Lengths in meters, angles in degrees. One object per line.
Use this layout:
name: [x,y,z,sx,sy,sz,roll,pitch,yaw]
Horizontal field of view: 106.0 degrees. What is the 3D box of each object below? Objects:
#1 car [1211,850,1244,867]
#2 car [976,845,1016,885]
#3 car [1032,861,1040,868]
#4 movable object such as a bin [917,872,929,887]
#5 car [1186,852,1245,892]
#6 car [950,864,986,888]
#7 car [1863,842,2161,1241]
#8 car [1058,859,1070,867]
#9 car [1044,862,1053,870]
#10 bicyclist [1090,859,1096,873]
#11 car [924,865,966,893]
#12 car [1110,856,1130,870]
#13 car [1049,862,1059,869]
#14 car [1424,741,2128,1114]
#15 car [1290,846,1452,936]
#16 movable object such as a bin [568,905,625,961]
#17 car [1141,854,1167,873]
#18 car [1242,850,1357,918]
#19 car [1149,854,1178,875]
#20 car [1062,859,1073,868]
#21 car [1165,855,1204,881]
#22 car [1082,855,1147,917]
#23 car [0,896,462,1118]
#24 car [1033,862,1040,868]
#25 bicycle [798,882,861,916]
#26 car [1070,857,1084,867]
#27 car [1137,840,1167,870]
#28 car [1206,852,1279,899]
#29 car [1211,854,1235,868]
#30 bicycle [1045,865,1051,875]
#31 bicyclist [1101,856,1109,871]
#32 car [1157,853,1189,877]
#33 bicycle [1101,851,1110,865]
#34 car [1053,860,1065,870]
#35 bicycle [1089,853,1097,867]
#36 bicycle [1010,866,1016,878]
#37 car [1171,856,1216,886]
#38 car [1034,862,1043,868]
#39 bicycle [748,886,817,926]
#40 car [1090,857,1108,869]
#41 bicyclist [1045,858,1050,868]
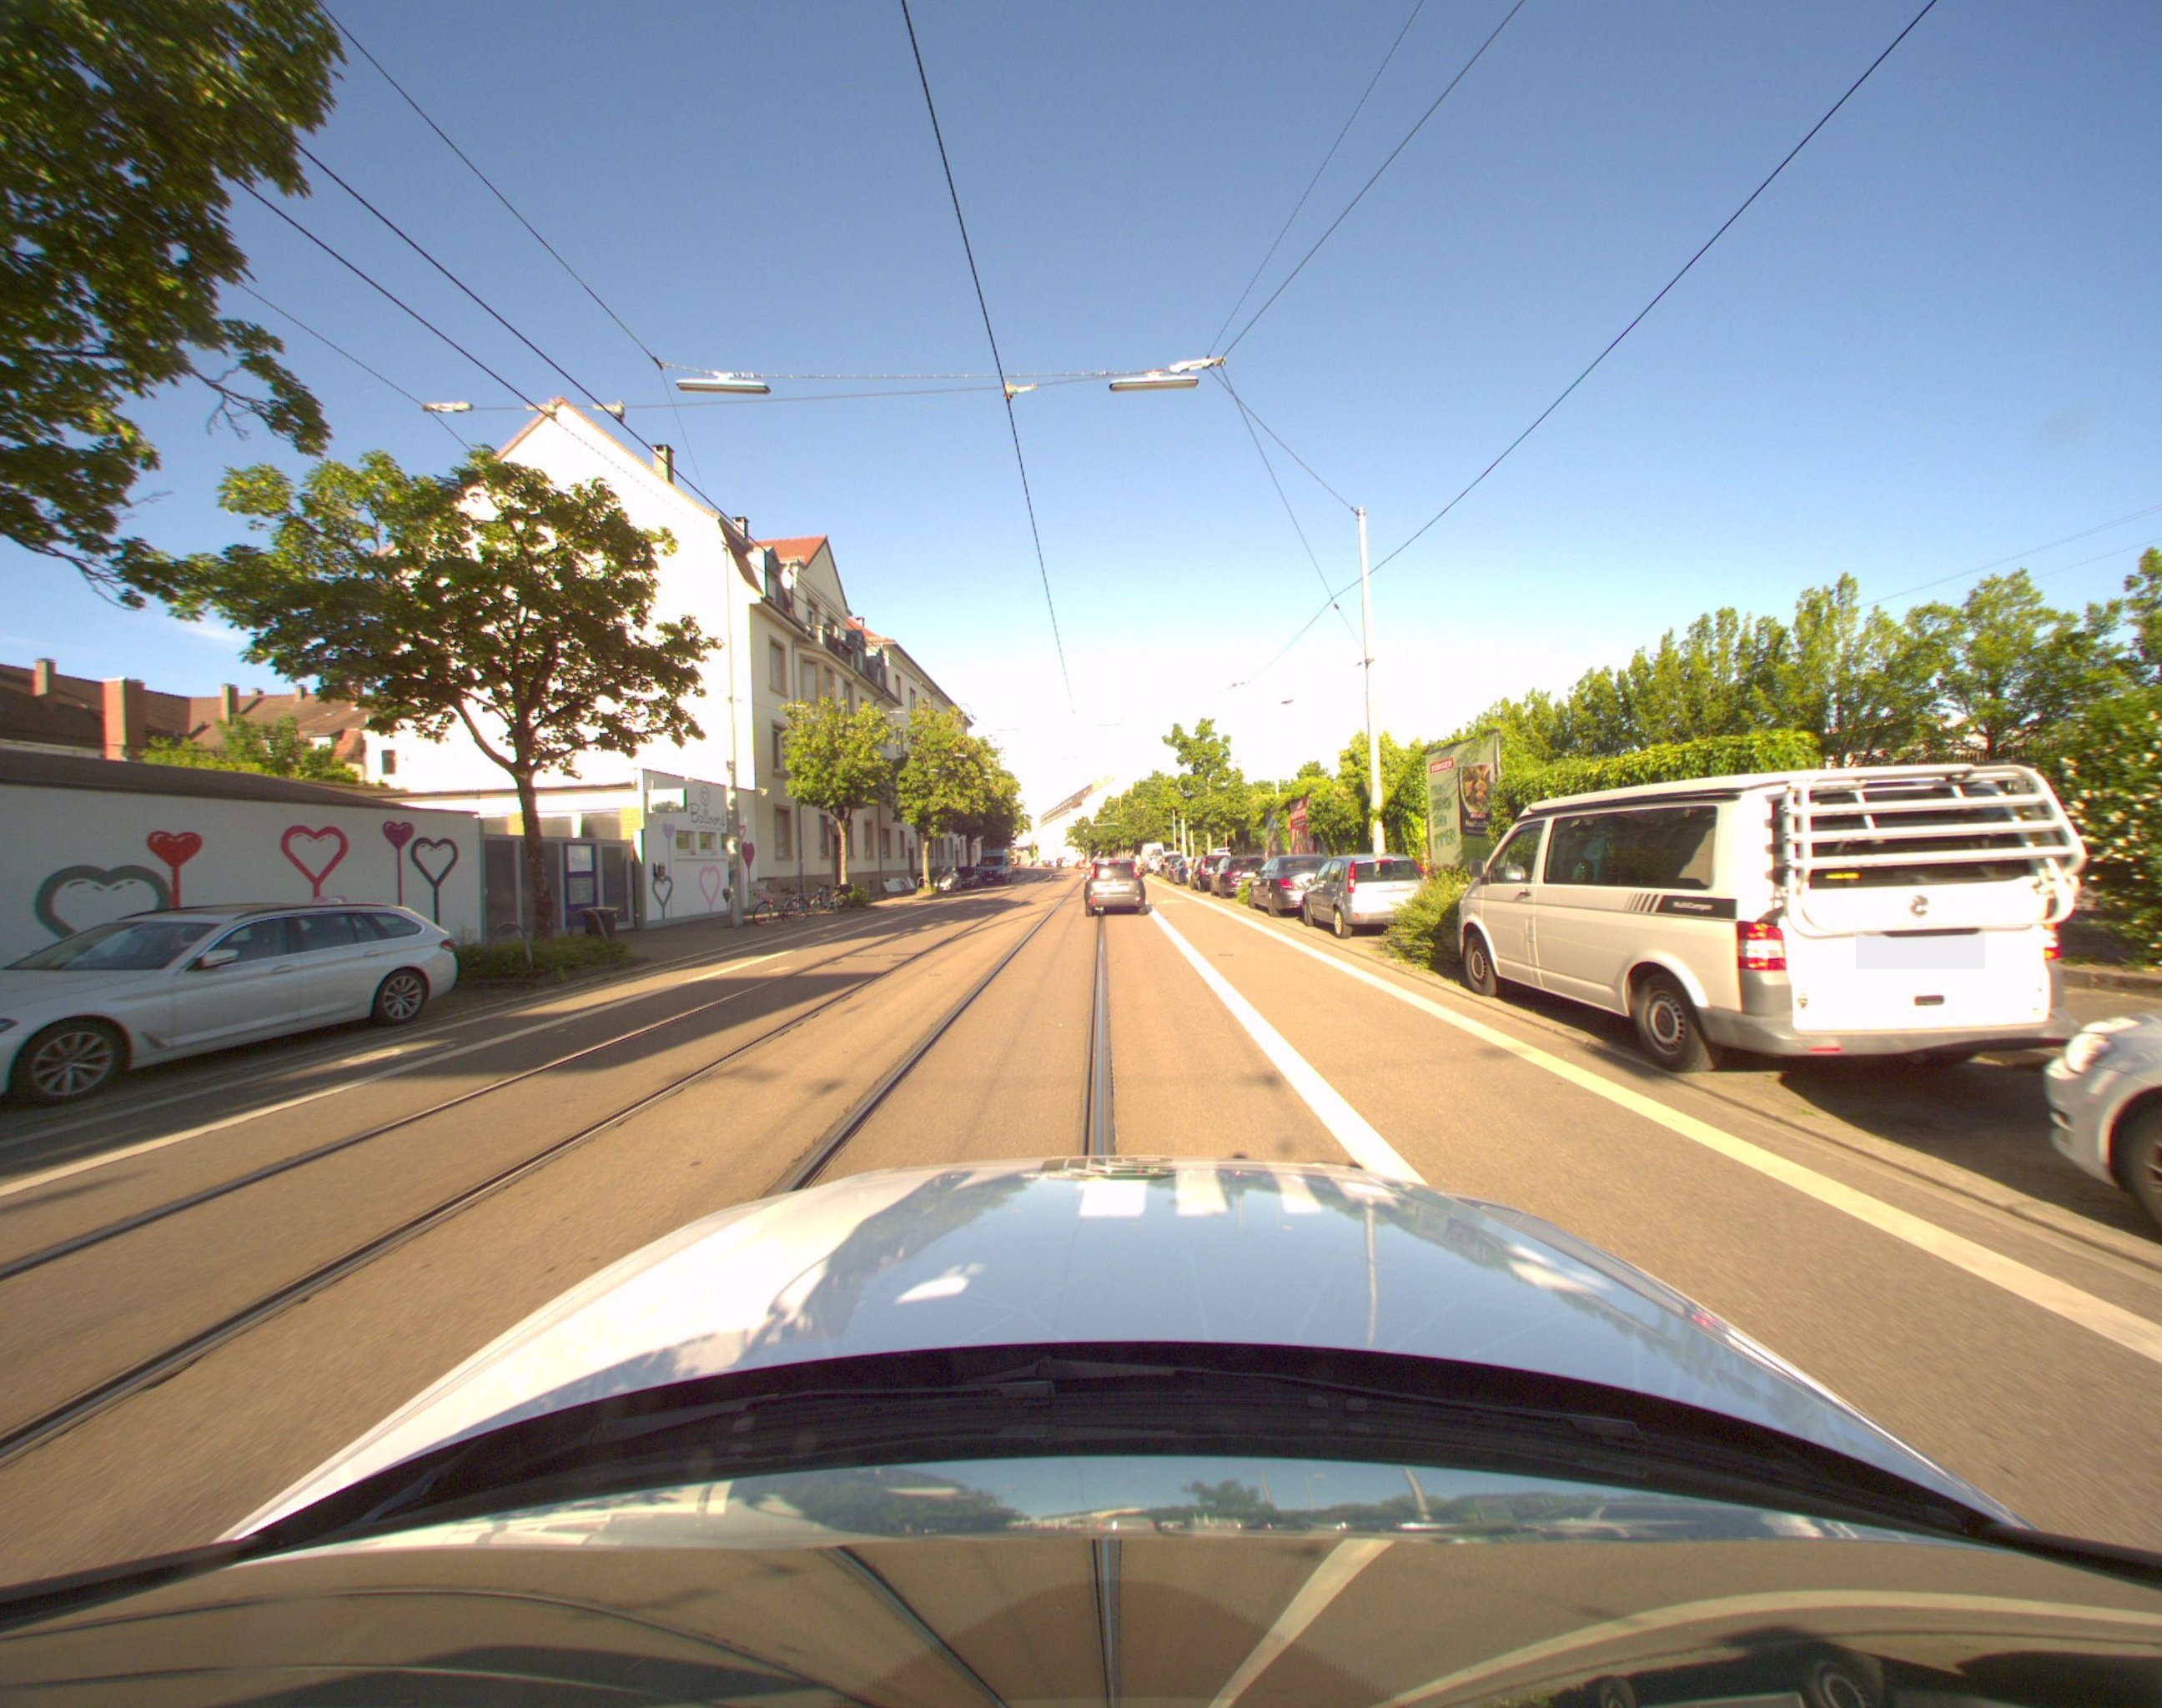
car: [20.843,0.632,116.065,4.272,2.013,1.771,-4,-1,-5]
car: [-6.332,0.798,61.499,2.009,2.826,6.035,-1,-1,3]
car: [-10.767,2.554,195.840,1.583,1.599,3.365,-1,-1,-9]
movable object such as a bin: [-10.190,1.640,52.593,0.594,0.934,0.568,-3,-1,-1]
car: [5.702,0.759,34.979,1.819,1.492,3.813,-4,-1,0]
car: [-7.396,1.415,53.572,1.645,1.425,4.191,-1,-1,2]
car: [4.843,0.674,1.874,1.671,1.418,4.501,-4,-1,0]
car: [-3.183,1.696,152.116,1.655,1.571,3.863,-1,-1,-9]
car: [-7.023,2.578,175.962,1.583,1.405,3.365,-6,0,-9]
bicyclist: [1.596,1.585,107.405,0.699,1.759,0.755,-1,-1,-10]
car: [-7.848,1.432,47.258,1.645,1.491,4.002,-1,-1,2]
car: [4.672,1.072,97.972,1.686,1.530,3.992,-4,0,-5]
car: [-5.528,2.374,167.701,1.655,1.500,3.119,-1,-1,-9]
car: [4.942,0.436,7.148,1.846,1.991,5.246,-3,-1,3]
car: [5.395,0.649,15.732,1.865,1.473,4.079,-1,-1,3]
movable object such as a bin: [-9.149,1.479,15.401,0.579,0.960,0.702,3,-1,2]
car: [6.449,0.843,72.133,1.904,1.530,4.600,-3,-1,1]
car: [5.347,0.692,20.570,1.817,1.484,4.604,-1,-1,2]
car: [6.343,0.818,62.993,1.723,1.512,4.249,-1,-1,-1]
car: [-2.474,1.815,147.821,1.655,1.571,3.488,-1,-1,-9]
car: [6.235,0.817,49.529,1.723,1.464,4.495,-1,-1,-1]
car: [0.902,0.831,22.878,1.644,1.541,4.235,-1,0,1]
car: [-9.009,1.284,8.217,1.858,1.490,4.662,-1,-1,1]
car: [-11.399,2.783,208.451,1.583,1.599,3.365,-1,-1,-9]
bicycle: [-8.448,1.506,27.426,1.998,1.040,0.526,-1,-1,-45]
car: [-0.685,1.253,129.476,1.634,1.508,3.387,-5,0,-8]
car: [6.791,0.147,78.897,2.173,2.665,6.090,-5,-1,0]
car: [5.661,0.725,29.083,1.817,1.452,4.644,-3,-1,2]
car: [10.812,0.521,61.977,1.304,1.033,3.056,-1,-1,0]
bicycle: [-6.460,3.060,157.849,0.741,2.014,2.802,-1,-1,-9]
bicyclist: [2.905,1.190,98.361,0.699,1.759,0.755,-1,-1,-10]
car: [6.523,0.805,58.211,1.723,1.604,4.340,-1,-1,-1]
bicycle: [2.920,0.493,98.257,0.675,1.747,2.150,-1,-1,-9]
car: [-4.391,2.152,161.099,1.655,1.944,4.649,-1,-1,-9]
bicycle: [1.571,0.830,107.495,0.675,1.747,2.150,-1,-1,-9]
bicycle: [-6.225,1.637,74.619,0.511,1.134,2.027,-1,-1,-5]
car: [5.975,0.888,43.788,1.723,1.464,4.338,-1,-1,-1]
car: [-9.892,2.630,190.269,1.583,1.405,3.365,-1,-1,-9]
bicycle: [-8.678,1.493,23.749,0.661,1.040,1.798,-2,-1,39]
car: [2.508,1.314,114.479,1.690,1.530,3.984,-4,0,-11]
bicyclist: [-6.499,1.758,157.903,0.715,2.014,0.829,-1,-1,-10]
